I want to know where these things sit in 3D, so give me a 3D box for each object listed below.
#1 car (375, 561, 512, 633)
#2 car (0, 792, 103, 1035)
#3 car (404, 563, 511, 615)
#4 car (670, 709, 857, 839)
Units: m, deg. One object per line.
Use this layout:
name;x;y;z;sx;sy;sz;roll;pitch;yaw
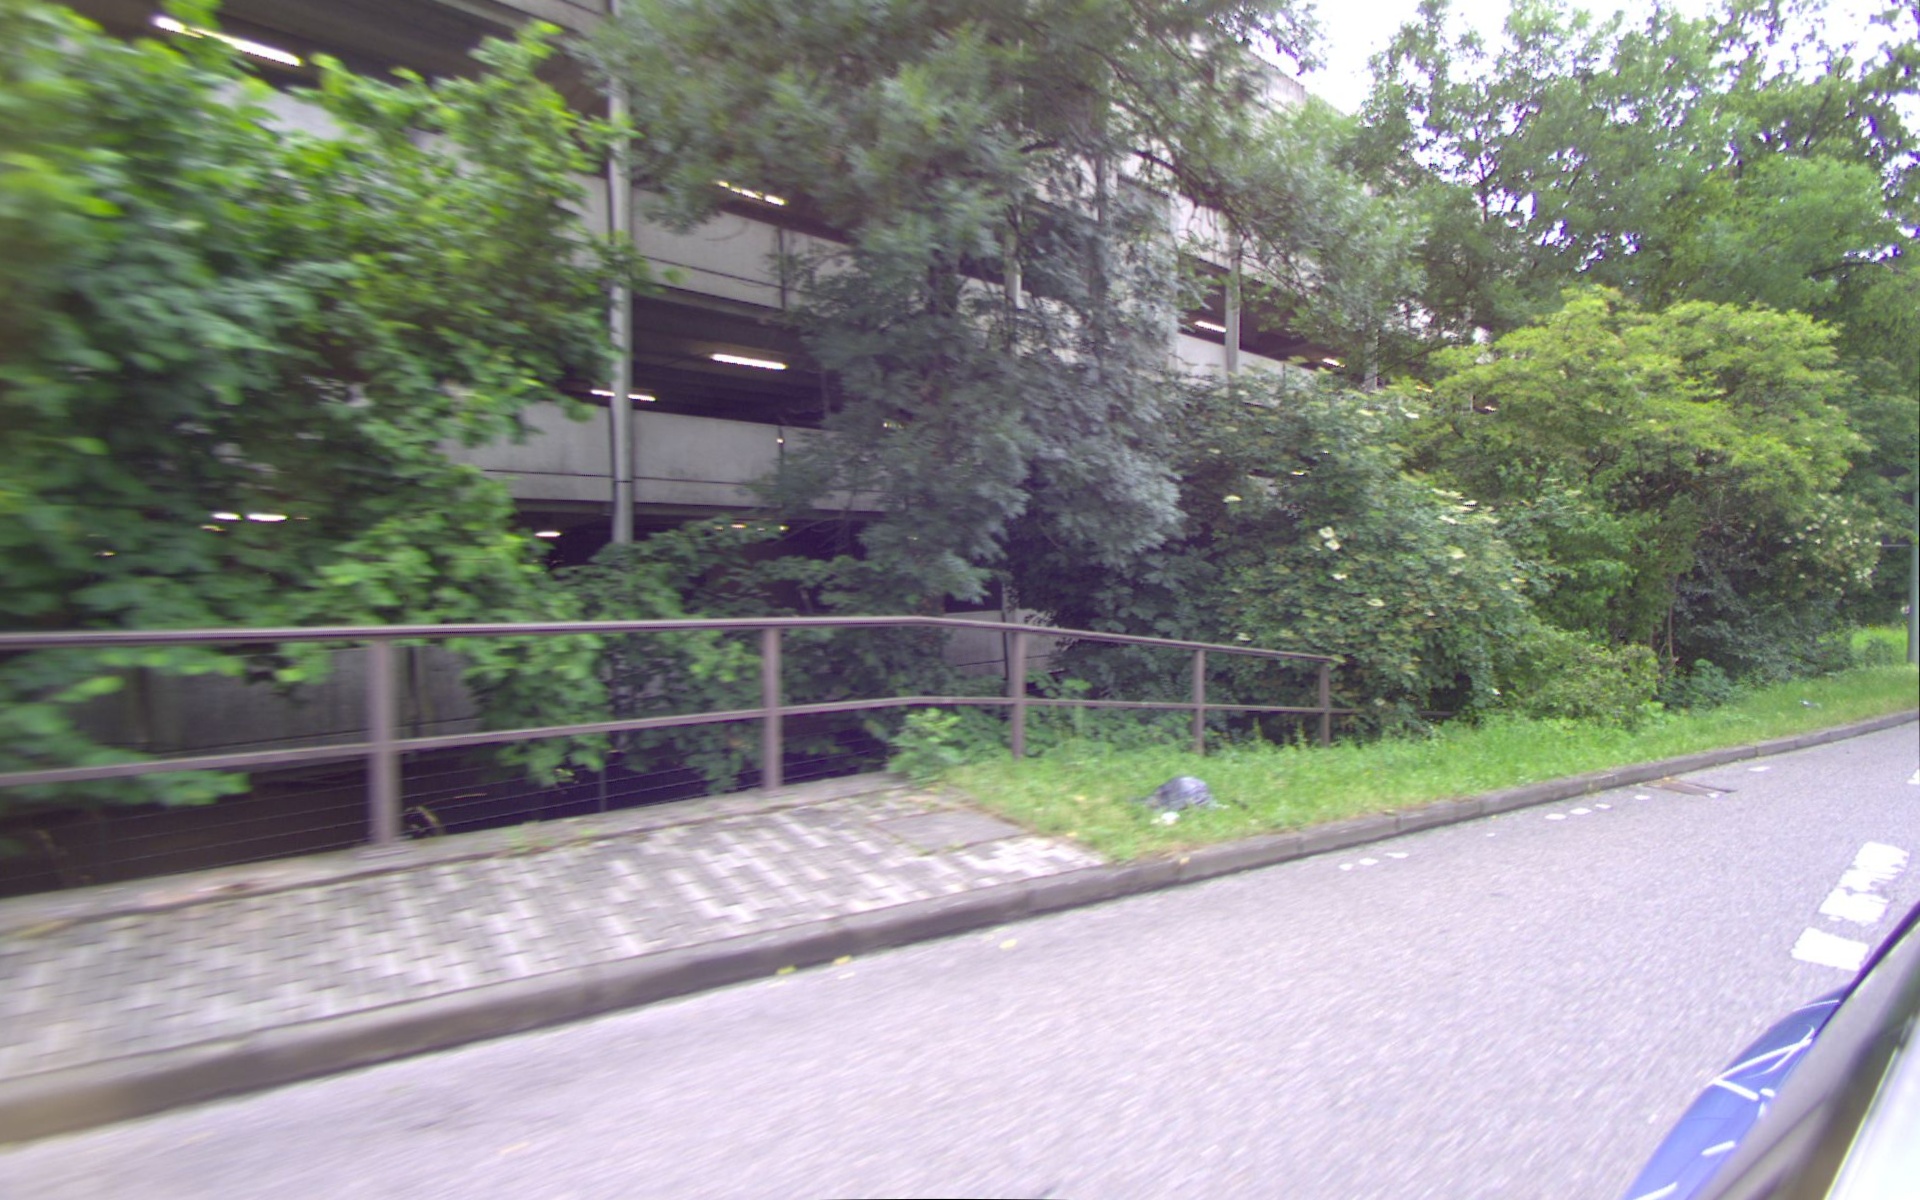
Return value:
car;-12.451;-0.146;24.301;1.846;1.497;3.991;-4;4;-44
car;-10.985;3.399;11.179;1.968;1.447;4.655;-4;4;-44
car;-14.870;-0.330;29.879;3.670;1.438;1.691;2;1;44
car;-3.530;2.964;17.878;1.637;1.530;3.387;-3;4;-44
